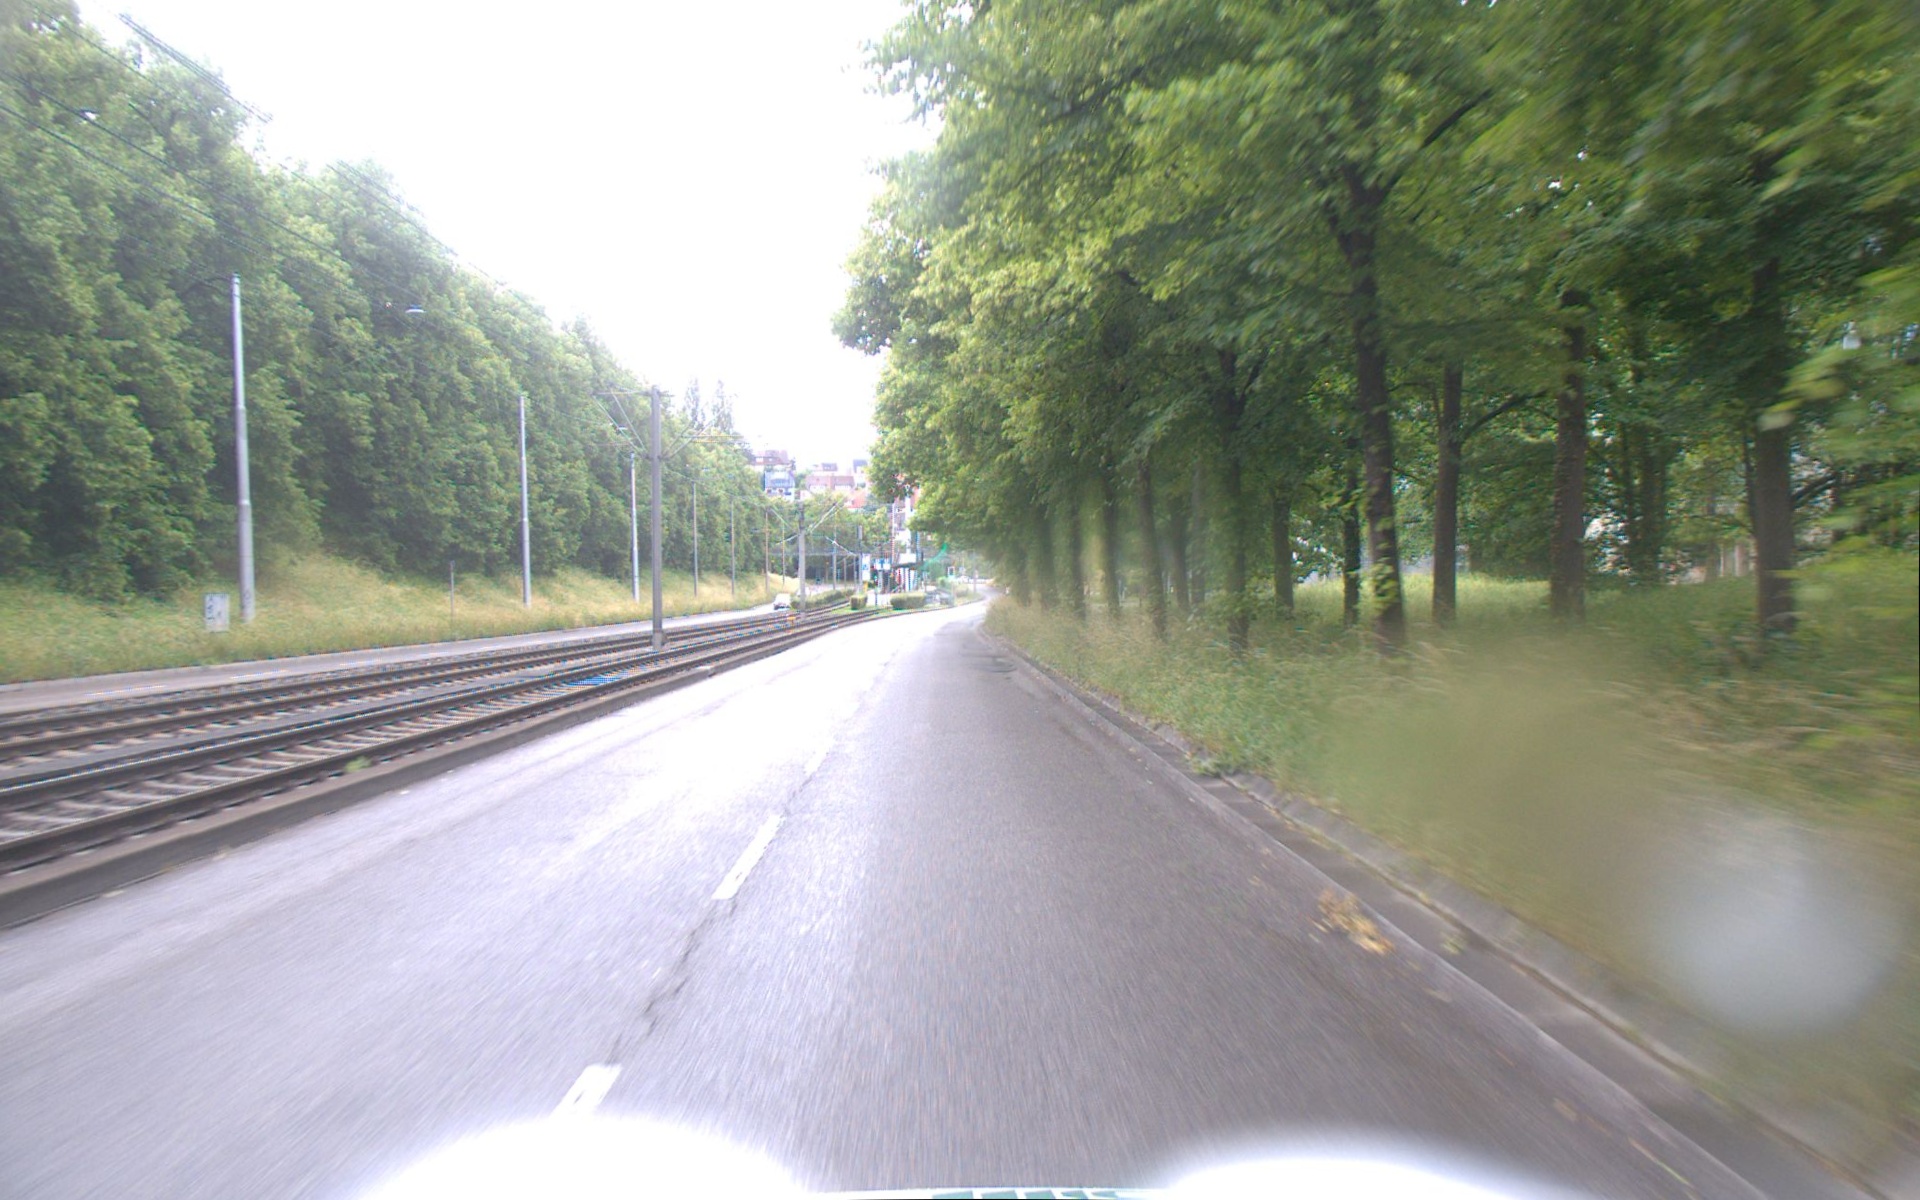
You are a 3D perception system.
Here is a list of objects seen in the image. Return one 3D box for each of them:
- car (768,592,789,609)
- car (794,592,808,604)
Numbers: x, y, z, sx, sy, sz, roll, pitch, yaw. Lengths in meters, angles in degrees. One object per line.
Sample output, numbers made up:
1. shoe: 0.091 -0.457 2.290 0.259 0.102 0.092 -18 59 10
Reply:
1. car: -17.338 0.041 158.267 1.636 1.468 4.025 -3 0 -2
2. car: -21.411 -0.269 222.907 1.749 1.579 3.959 -2 0 -3
